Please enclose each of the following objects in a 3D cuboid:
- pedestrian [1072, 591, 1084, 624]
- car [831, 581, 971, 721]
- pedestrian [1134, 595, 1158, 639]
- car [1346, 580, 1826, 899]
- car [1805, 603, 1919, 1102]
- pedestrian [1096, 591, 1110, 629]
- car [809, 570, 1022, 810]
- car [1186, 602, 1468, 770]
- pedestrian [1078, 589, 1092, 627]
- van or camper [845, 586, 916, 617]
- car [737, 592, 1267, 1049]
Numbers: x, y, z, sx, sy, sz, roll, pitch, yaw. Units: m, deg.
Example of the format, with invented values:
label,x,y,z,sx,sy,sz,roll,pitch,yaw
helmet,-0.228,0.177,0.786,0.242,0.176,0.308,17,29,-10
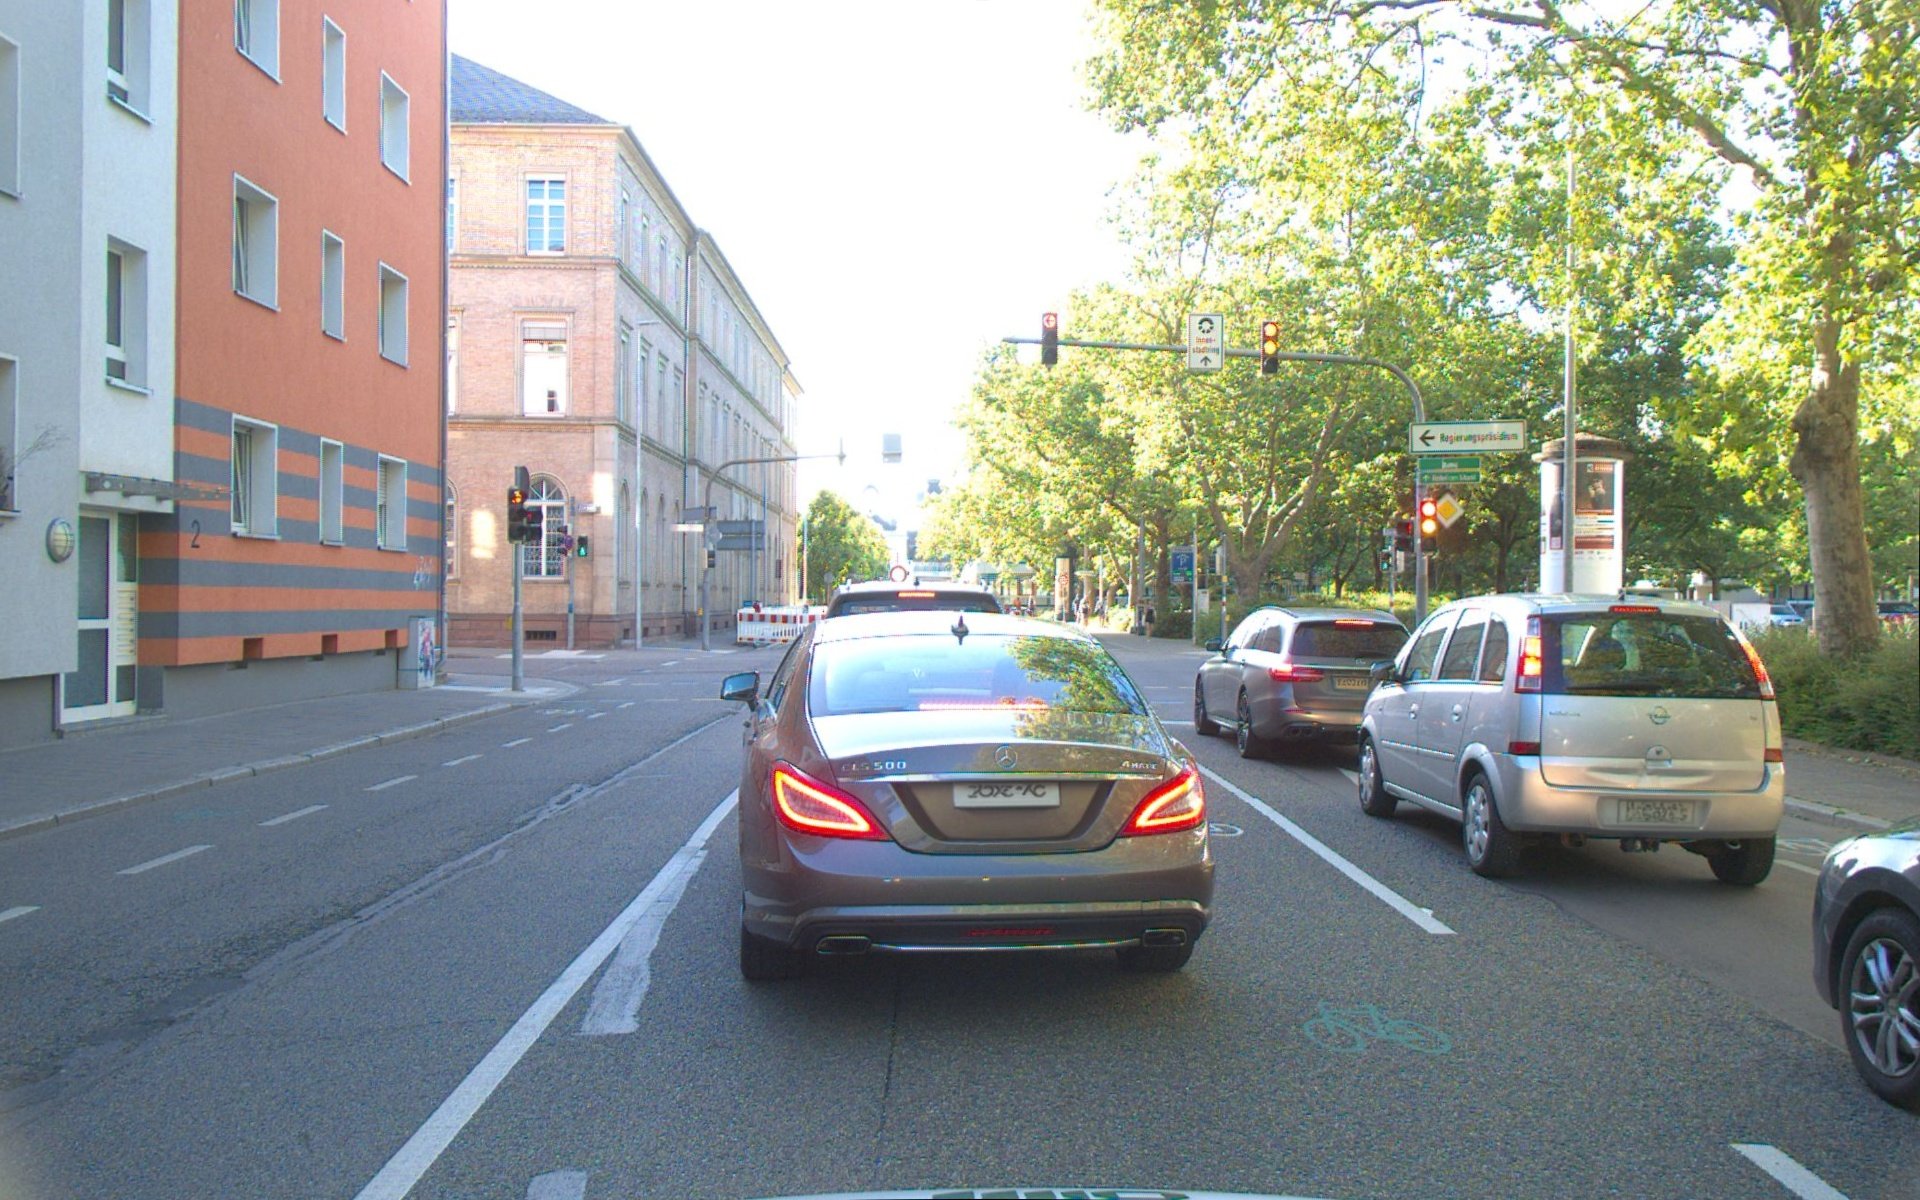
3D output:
label,x,y,z,sx,sy,sz,roll,pitch,yaw
pedestrian,6.740,0.437,94.691,0.599,1.853,0.932,1,0,-1
car,-0.784,0.646,23.223,1.783,1.793,3.999,0,0,-1
pedestrian,7.092,0.647,63.145,0.813,1.634,0.651,1,0,-1
car,3.783,0.737,10.736,1.666,1.631,3.860,2,0,1
car,3.750,0.796,3.699,1.611,1.508,3.975,2,0,-1
pedestrian,7.028,0.483,81.355,0.591,1.853,0.651,1,0,-1
car,-0.406,0.632,13.614,1.487,1.675,3.878,1,0,-3
car,3.693,0.791,17.541,1.874,1.490,4.668,1,0,-1
pedestrian,6.159,0.399,81.663,0.591,1.853,0.651,1,0,-1
van or camper,-5.381,0.091,111.682,4.499,1.975,1.994,1,0,34
car,-0.129,0.713,7.649,1.769,1.482,4.343,1,0,-8
